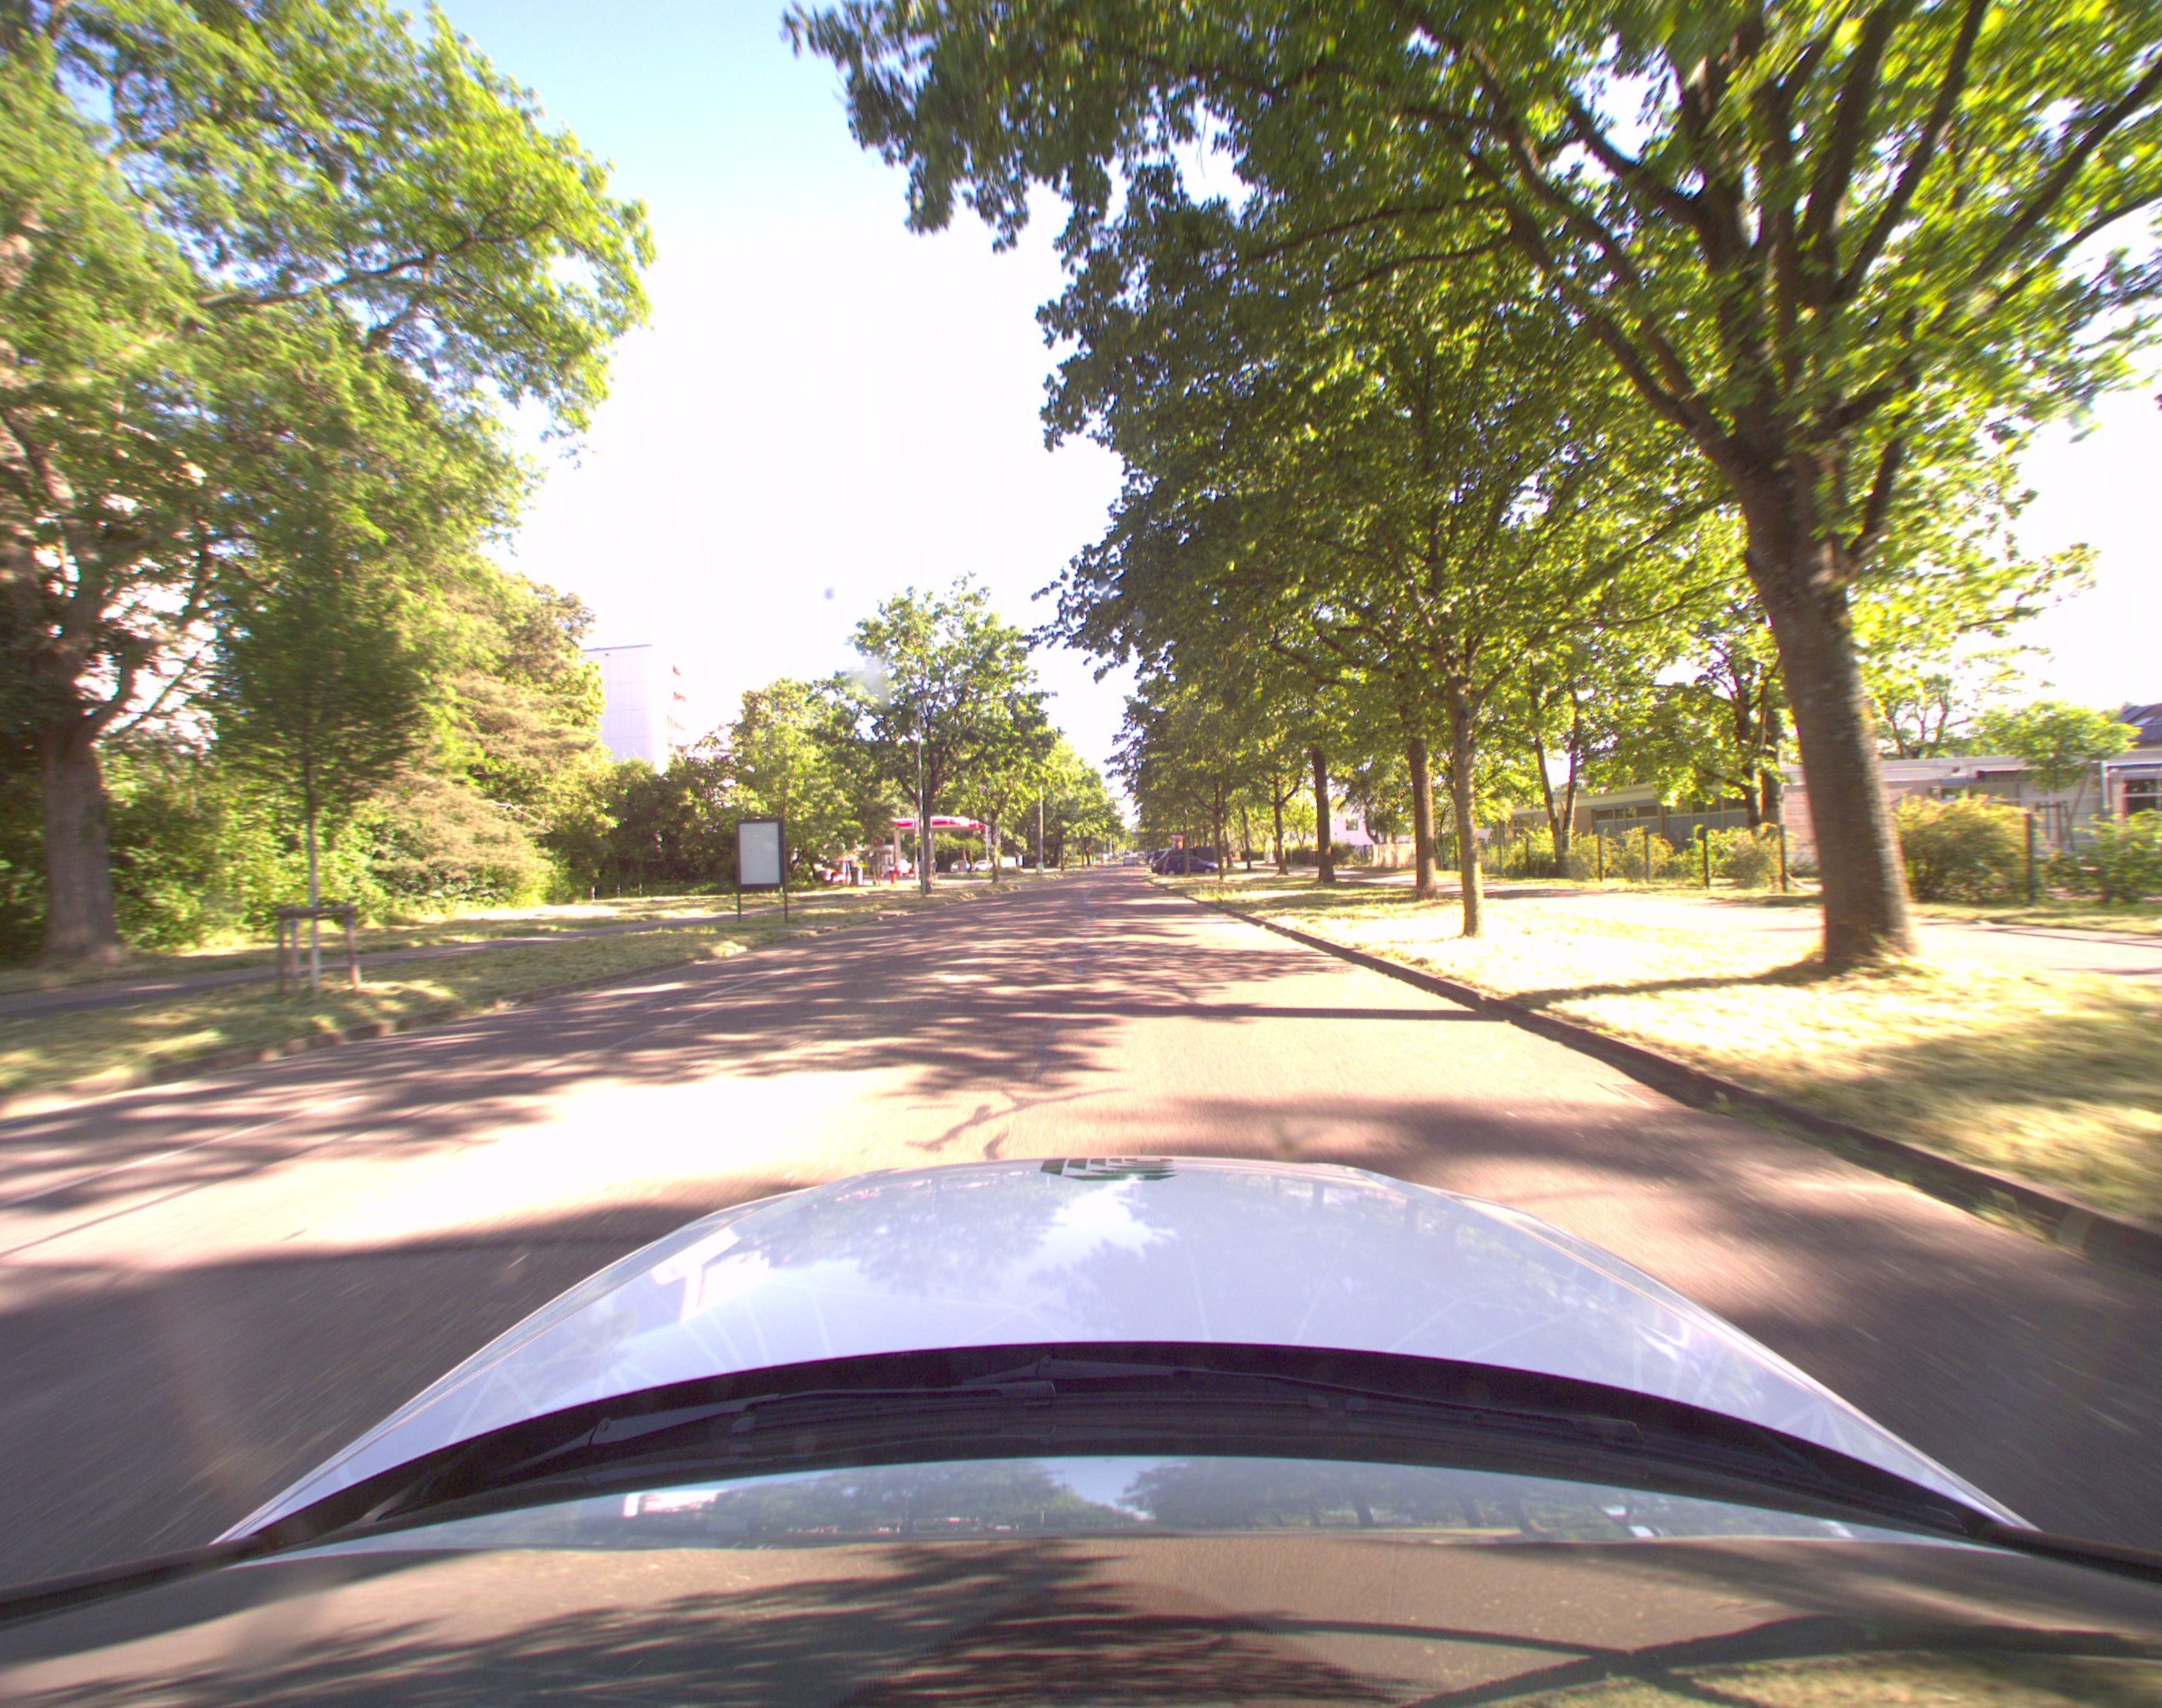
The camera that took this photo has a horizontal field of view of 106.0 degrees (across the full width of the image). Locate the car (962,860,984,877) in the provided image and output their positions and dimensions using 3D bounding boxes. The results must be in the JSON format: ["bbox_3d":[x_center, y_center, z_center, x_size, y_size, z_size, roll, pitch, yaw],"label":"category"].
[{"bbox_3d":[-12.475,1.706,94.395,1.794,1.823,3.806,-3,-2,1],"label":"car"}]

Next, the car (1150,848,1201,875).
[{"bbox_3d":[7.063,0.568,60.784,3.638,1.797,1.318,-3,-2,2],"label":"car"}]

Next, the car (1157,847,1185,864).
[{"bbox_3d":[11.872,0.162,107.925,3.553,2.051,1.634,-3,-2,3],"label":"car"}]

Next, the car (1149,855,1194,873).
[{"bbox_3d":[7.639,0.828,68.798,3.638,1.330,1.318,-3,-2,2],"label":"car"}]

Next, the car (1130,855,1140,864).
[{"bbox_3d":[9.359,0.932,140.969,1.654,1.337,3.667,-3,-2,3],"label":"car"}]

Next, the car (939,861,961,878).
[{"bbox_3d":[-15.231,1.846,94.600,1.794,1.823,3.806,-3,-2,1],"label":"car"}]

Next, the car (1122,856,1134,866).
[{"bbox_3d":[6.950,1.029,119.925,1.654,1.337,3.667,-3,-2,3],"label":"car"}]

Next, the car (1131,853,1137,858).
[{"bbox_3d":[15.419,0.454,237.175,1.654,1.337,3.667,-3,-2,3],"label":"car"}]

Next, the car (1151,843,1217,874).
[{"bbox_3d":[7.317,0.363,58.281,4.484,1.953,1.689,-3,-2,2],"label":"car"}]

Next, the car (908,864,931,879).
[{"bbox_3d":[-19.239,2.112,97.325,1.794,1.621,3.807,-3,-2,2],"label":"car"}]

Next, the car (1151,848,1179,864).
[{"bbox_3d":[11.361,0.292,110.088,3.553,2.051,1.576,-3,-2,3],"label":"car"}]

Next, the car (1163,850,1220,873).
[{"bbox_3d":[7.481,0.533,55.284,3.638,1.398,1.318,-3,-2,2],"label":"car"}]
